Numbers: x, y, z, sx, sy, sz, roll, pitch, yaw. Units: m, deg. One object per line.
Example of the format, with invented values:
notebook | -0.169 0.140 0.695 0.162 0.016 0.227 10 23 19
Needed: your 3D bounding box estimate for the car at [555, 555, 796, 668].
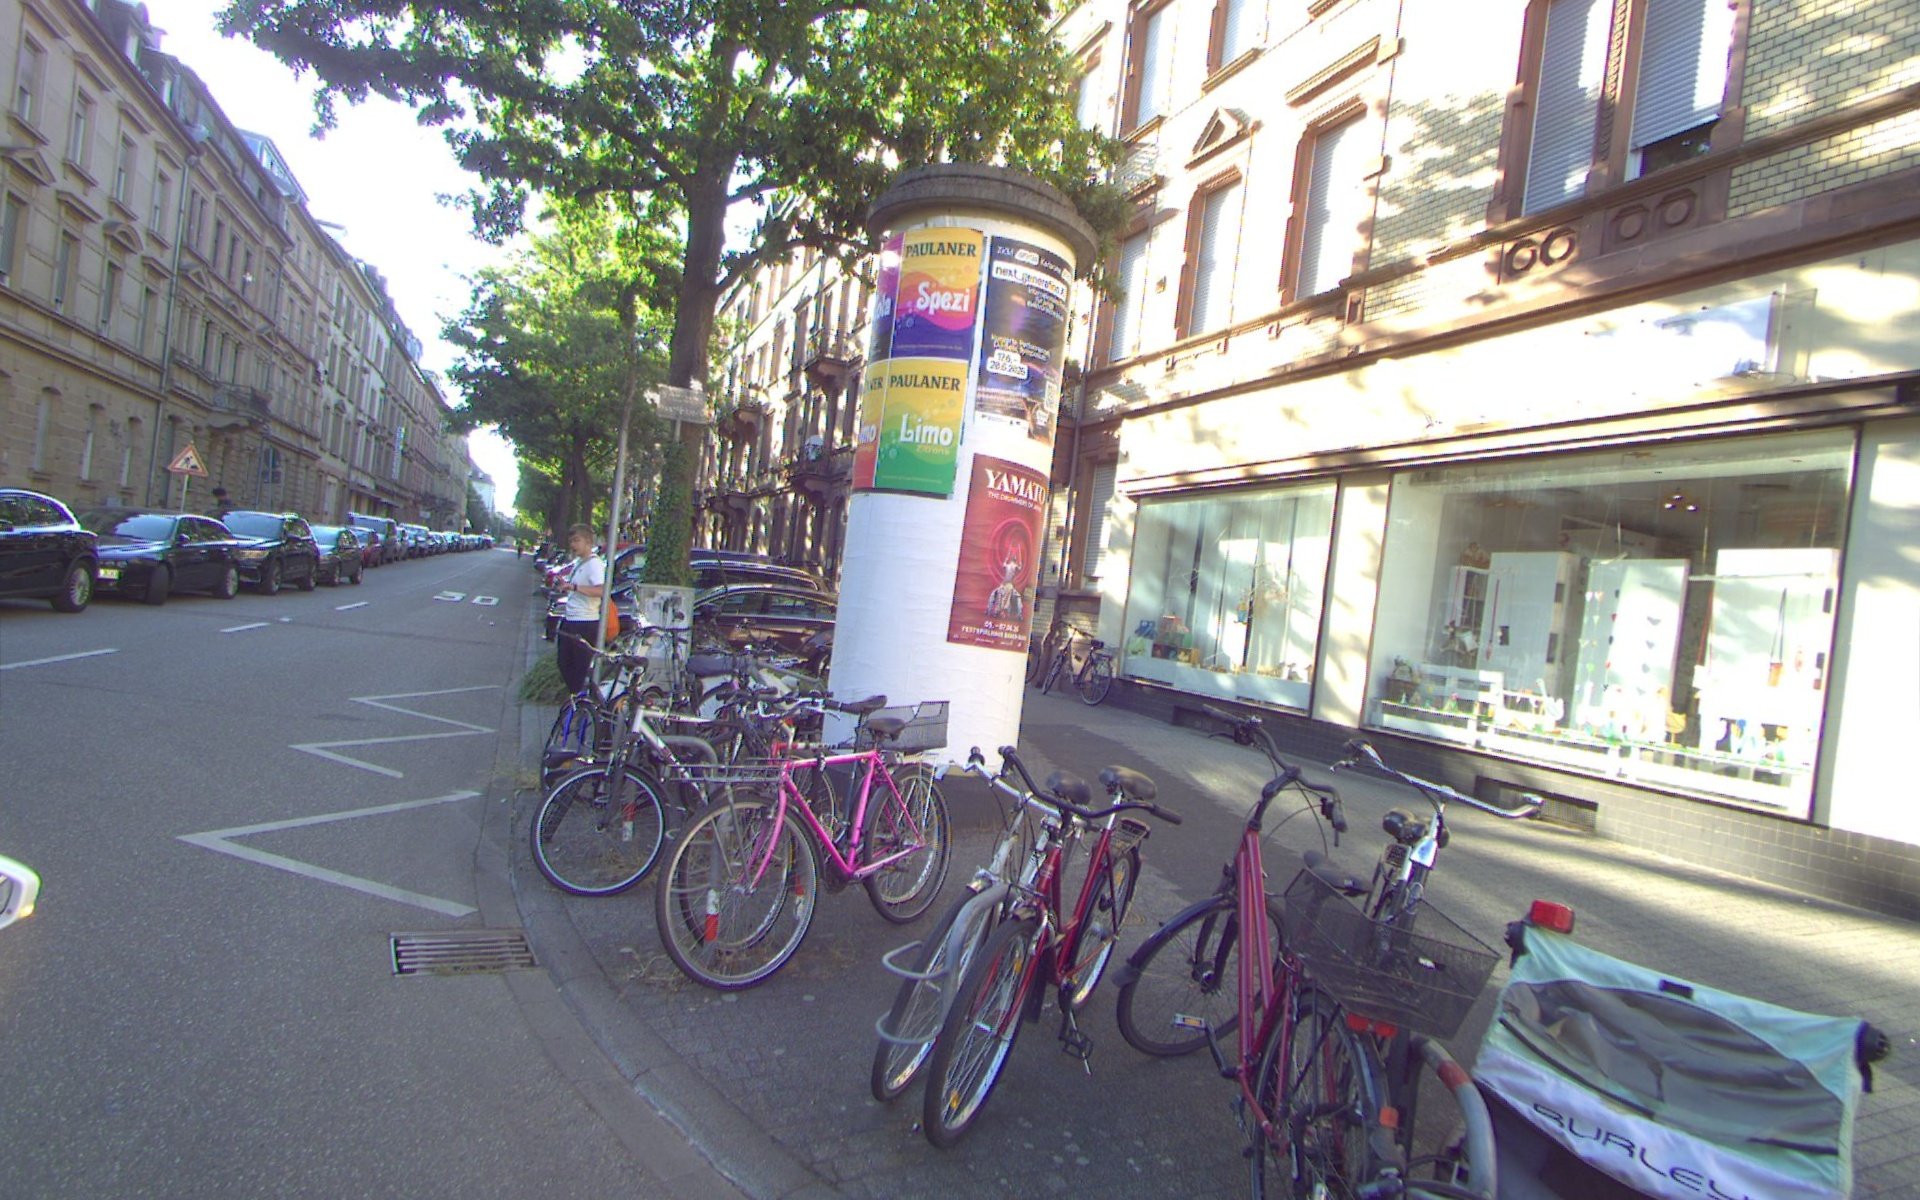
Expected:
car | -5.330 0.222 18.845 4.065 1.553 1.715 7 0 -23

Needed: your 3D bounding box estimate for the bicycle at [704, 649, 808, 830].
bicycle | -1.368 0.853 6.590 0.349 0.939 1.517 4 1 -22

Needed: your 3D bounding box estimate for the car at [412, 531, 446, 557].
car | -37.143 -3.928 70.442 1.742 1.491 4.034 6 1 -25

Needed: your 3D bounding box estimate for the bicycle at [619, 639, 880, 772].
bicycle | -1.609 0.835 7.828 1.910 0.939 0.352 4 1 -24

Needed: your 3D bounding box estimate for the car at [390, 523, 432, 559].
car | -32.812 -3.514 60.237 1.742 1.865 4.501 6 1 -25

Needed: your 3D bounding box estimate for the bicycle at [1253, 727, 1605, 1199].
bicycle | 1.404 1.081 3.306 0.563 1.108 1.477 4 1 8

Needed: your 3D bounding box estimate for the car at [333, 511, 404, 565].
car | -26.035 -2.694 44.424 1.815 1.966 5.230 9 0 -23

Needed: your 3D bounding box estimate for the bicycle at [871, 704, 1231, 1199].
bicycle | 0.435 0.978 3.344 0.418 1.108 1.933 5 1 27

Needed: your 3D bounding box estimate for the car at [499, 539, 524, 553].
car | -84.076 -10.099 188.510 3.940 1.882 1.745 8 0 -16

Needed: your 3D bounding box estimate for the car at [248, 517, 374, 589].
car | -16.600 -1.197 25.940 1.739 1.520 4.040 6 1 -20

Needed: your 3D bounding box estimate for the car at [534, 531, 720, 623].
car | -9.327 -0.620 28.241 4.631 2.059 1.866 5 1 -27

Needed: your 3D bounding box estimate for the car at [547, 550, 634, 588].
car | -18.772 -1.570 51.054 3.969 1.486 1.724 5 1 -24

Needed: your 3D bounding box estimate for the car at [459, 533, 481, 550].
car | -55.940 -6.662 114.821 1.974 1.504 3.978 7 -1 -24

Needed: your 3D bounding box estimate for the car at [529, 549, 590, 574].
car | -28.388 -2.728 71.284 3.814 1.311 1.706 5 1 -27

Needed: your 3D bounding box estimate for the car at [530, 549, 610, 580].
car | -23.341 -2.112 60.232 4.183 1.422 1.821 5 1 -28

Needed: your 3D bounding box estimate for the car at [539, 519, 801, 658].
car | -6.189 -0.207 21.537 4.974 2.242 1.981 7 0 -25

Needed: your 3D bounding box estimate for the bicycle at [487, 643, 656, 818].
bicycle | -2.474 0.789 6.550 0.348 0.939 1.413 4 1 7

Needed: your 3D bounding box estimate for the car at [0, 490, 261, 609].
car | -13.176 -0.759 16.223 1.738 1.470 4.532 6 0 -18

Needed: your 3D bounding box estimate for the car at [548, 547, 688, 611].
car | -11.157 -0.666 32.908 4.139 1.649 1.829 5 1 -21

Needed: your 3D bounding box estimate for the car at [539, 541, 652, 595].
car | -15.966 -1.392 44.061 4.400 1.951 1.837 4 3 -26

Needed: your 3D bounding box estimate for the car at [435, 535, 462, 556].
car | -43.181 -4.642 85.028 1.742 1.491 4.034 6 1 -25

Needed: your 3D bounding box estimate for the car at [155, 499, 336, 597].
car | -14.726 -1.055 21.032 1.738 1.620 4.530 6 1 -19

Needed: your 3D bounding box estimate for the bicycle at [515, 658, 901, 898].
bicycle | -1.215 0.835 5.230 0.490 1.001 1.924 5 1 44

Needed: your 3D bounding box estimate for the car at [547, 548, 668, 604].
car | -13.079 -0.876 37.328 3.971 1.648 1.794 5 1 -25

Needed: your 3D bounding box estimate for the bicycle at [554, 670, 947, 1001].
bicycle | -0.793 0.890 4.469 0.494 1.065 1.932 5 1 30

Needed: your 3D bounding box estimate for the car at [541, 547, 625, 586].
car | -19.980 -1.782 53.321 3.969 1.628 1.724 5 1 -24

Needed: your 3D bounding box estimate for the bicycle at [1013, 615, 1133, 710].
bicycle | 1.677 0.909 15.492 0.663 1.186 2.580 4 1 -20

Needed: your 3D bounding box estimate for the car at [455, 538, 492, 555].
car | -60.004 -6.635 124.144 1.962 1.503 4.004 6 -1 9

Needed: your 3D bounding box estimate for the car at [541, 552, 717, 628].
car | -8.447 -0.246 25.660 4.013 1.529 1.868 5 1 -24

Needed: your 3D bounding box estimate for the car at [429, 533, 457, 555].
car | -41.406 -4.486 80.630 1.742 1.491 4.034 6 1 -25

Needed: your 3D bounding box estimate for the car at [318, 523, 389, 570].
car | -23.706 -2.083 39.428 1.577 1.492 3.680 9 0 -21

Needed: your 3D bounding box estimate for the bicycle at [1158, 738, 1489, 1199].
bicycle | 0.839 1.032 2.674 0.417 1.108 1.477 4 1 7

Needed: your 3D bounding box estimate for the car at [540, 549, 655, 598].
car | -15.042 -1.093 41.701 4.299 1.577 1.838 4 3 -24

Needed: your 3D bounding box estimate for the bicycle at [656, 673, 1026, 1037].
bicycle | -0.370 0.906 4.240 0.418 1.108 1.932 5 1 30

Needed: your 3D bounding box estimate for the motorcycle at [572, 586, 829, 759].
motorcycle | -2.116 0.596 8.224 1.878 1.250 0.682 5 1 -23

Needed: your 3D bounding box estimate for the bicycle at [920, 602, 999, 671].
bicycle | -0.060 0.695 20.349 0.663 1.186 2.580 4 1 -20

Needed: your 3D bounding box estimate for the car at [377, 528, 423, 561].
car | -30.985 -3.093 55.773 1.743 1.484 3.975 9 0 -25

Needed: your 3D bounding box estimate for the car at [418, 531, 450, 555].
car | -39.113 -4.222 74.853 1.742 1.491 4.034 6 1 -25

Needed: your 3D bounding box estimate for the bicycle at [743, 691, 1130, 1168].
bicycle | 0.061 0.942 3.557 0.418 1.108 1.933 5 1 27

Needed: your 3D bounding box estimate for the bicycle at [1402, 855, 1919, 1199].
bicycle | 1.463 1.170 2.044 0.729 1.039 0.994 7 0 45

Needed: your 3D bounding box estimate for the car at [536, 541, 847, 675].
car | -4.408 0.155 16.631 4.637 1.700 1.841 6 0 -22

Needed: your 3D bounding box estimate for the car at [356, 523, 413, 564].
car | -28.424 -2.785 49.819 1.737 1.627 4.359 9 0 -23

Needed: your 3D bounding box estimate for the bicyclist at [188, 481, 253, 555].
bicyclist | -20.252 -2.227 27.590 0.985 1.811 1.202 7 -1 -21

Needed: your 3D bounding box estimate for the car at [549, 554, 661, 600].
car | -13.986 -0.918 39.596 3.969 1.453 1.784 4 1 -24

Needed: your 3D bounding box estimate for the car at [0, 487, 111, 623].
car | -11.552 -0.594 11.187 1.738 1.506 4.121 6 0 -19

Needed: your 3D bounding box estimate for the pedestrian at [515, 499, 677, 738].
pedestrian | -3.234 0.168 8.931 1.103 1.922 0.838 7 1 -23

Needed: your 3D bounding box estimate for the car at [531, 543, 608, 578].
car | -25.396 -2.581 65.429 4.204 1.818 1.813 5 2 -43

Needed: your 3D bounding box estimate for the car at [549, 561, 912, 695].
car | -3.268 0.405 14.442 4.733 1.431 1.842 6 0 -22

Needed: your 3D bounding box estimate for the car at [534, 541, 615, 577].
car | -26.460 -2.821 69.009 5.005 1.950 1.824 5 2 -24

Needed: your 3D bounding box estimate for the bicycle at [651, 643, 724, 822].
bicycle | -1.780 0.805 6.569 0.349 0.939 1.520 4 1 -15

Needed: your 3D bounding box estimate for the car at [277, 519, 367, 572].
car | -22.186 -1.886 35.140 1.739 1.520 4.039 6 1 -21

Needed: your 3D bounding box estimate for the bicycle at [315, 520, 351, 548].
bicycle | -35.332 -3.705 56.759 1.032 1.335 3.976 8 0 -24

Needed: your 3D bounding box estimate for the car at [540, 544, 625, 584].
car | -20.920 -1.988 55.775 4.179 1.800 1.823 5 2 -25
